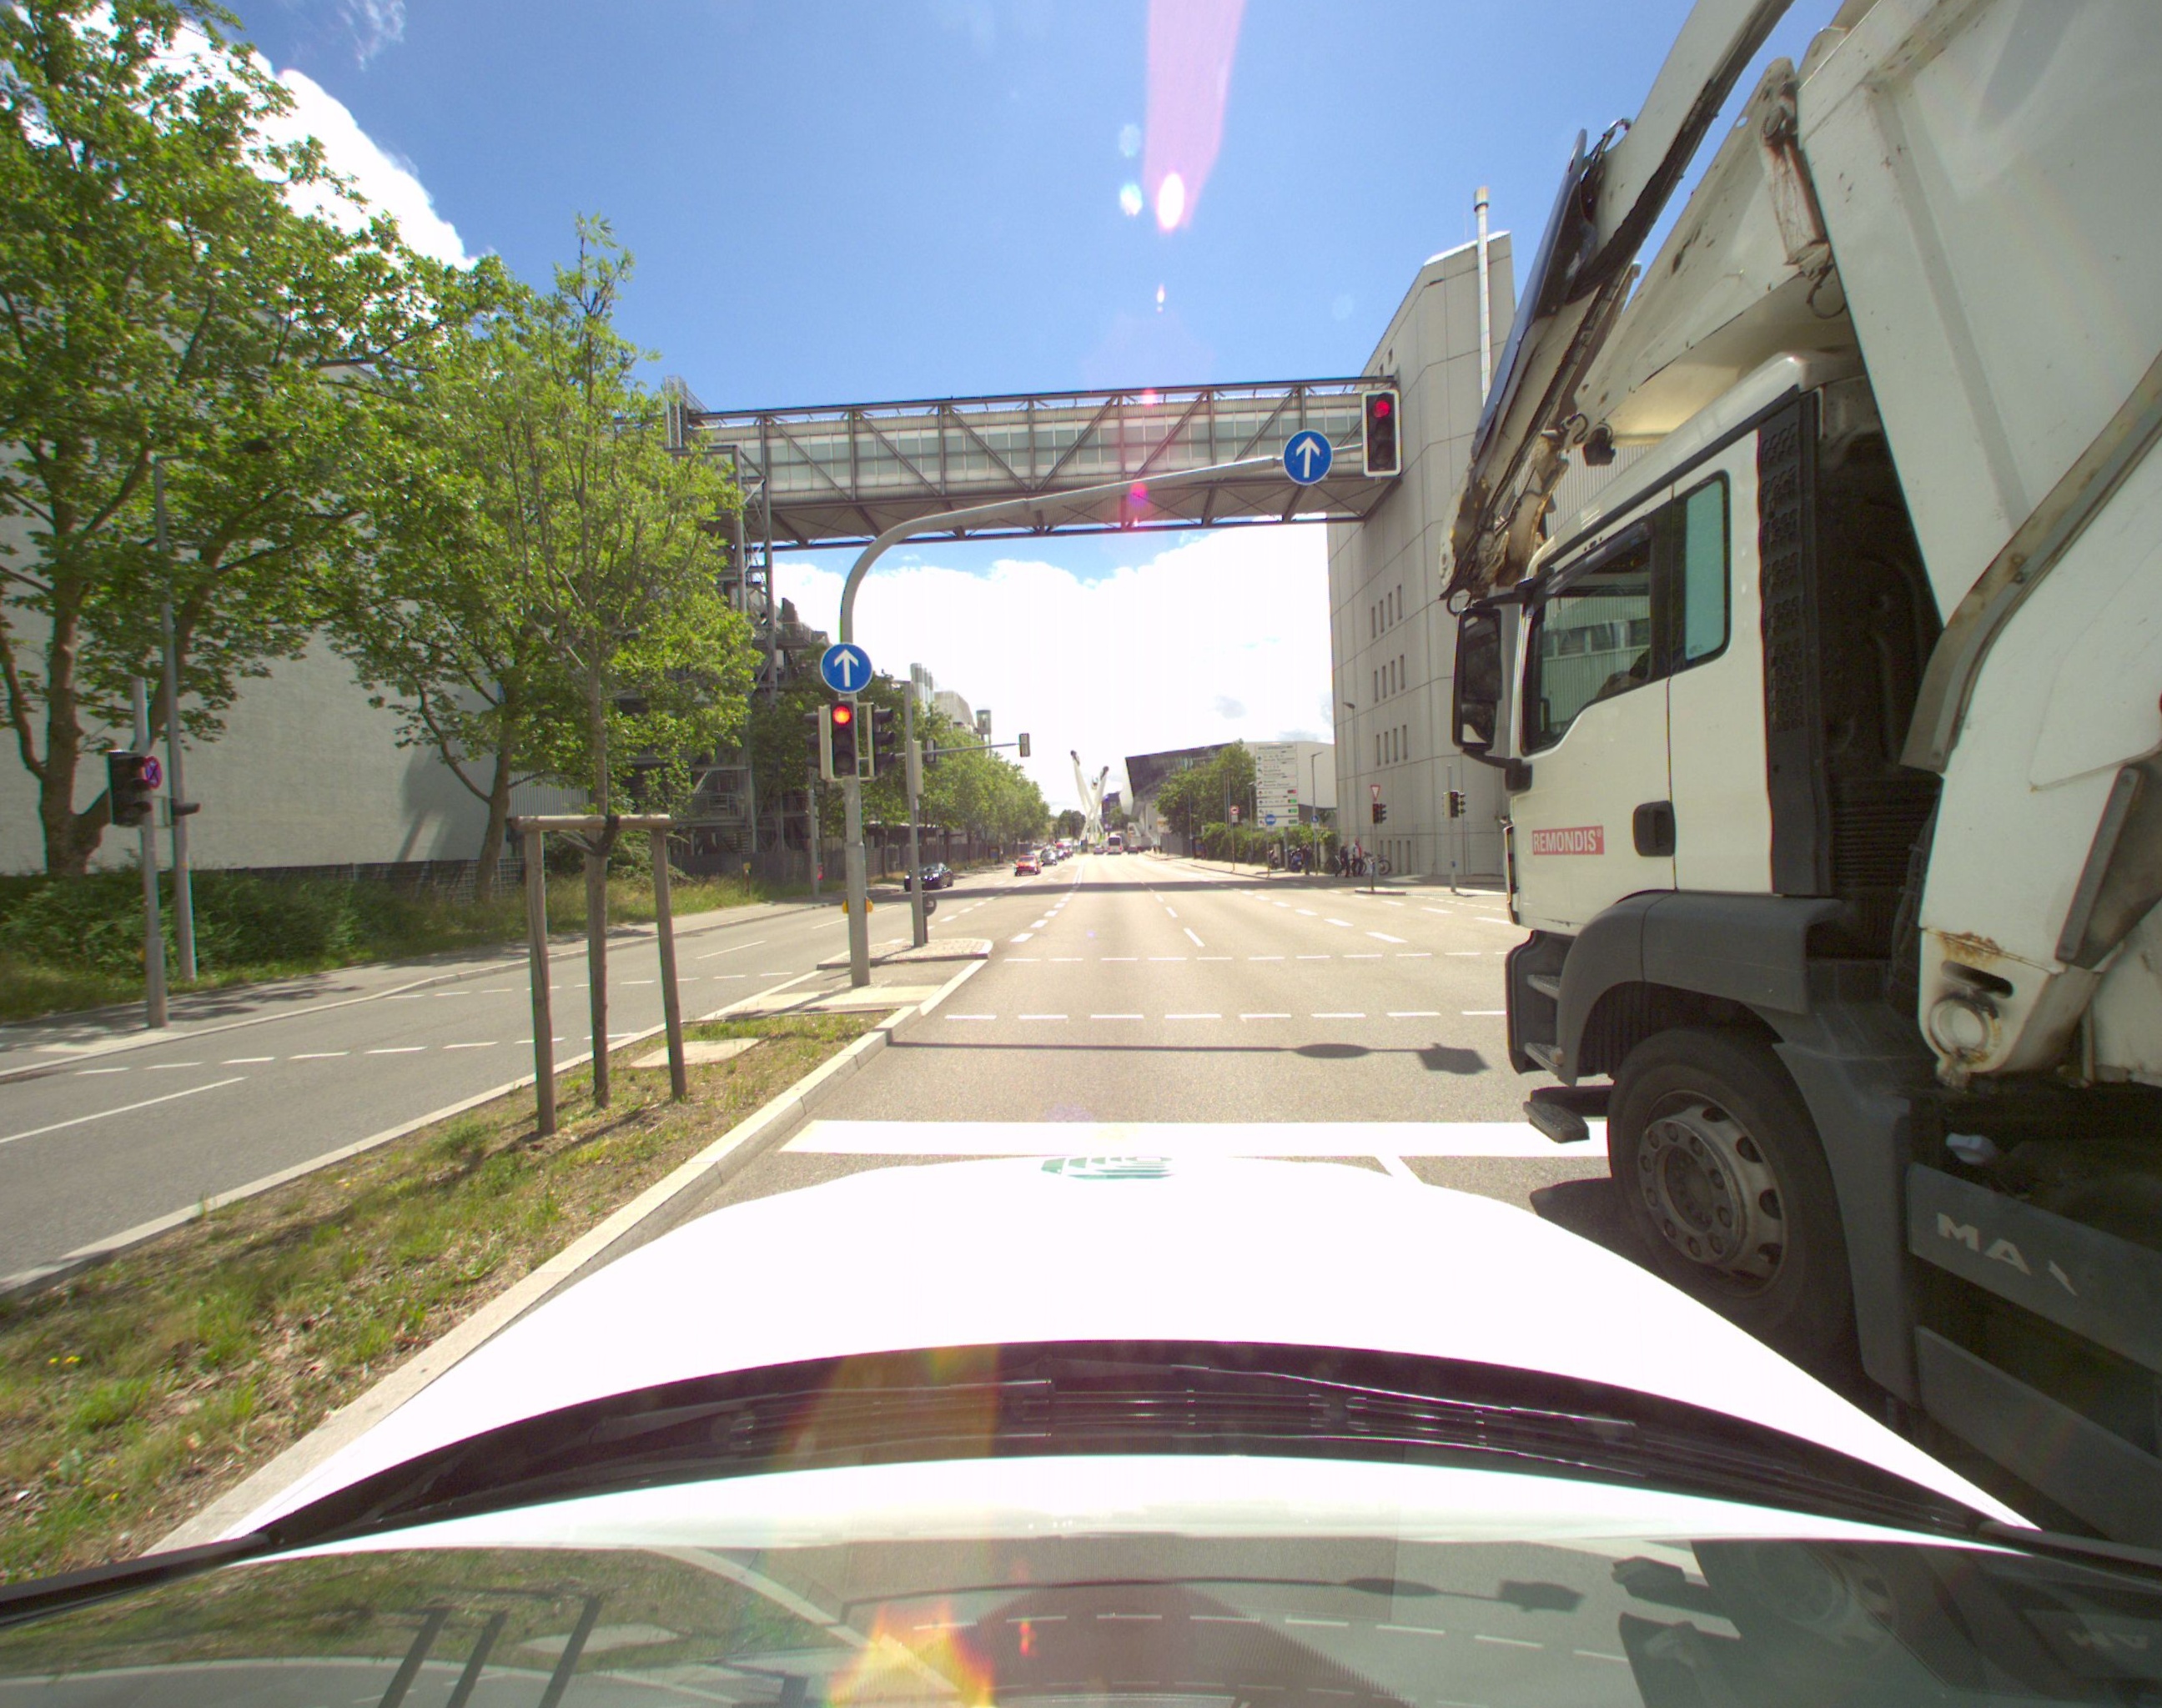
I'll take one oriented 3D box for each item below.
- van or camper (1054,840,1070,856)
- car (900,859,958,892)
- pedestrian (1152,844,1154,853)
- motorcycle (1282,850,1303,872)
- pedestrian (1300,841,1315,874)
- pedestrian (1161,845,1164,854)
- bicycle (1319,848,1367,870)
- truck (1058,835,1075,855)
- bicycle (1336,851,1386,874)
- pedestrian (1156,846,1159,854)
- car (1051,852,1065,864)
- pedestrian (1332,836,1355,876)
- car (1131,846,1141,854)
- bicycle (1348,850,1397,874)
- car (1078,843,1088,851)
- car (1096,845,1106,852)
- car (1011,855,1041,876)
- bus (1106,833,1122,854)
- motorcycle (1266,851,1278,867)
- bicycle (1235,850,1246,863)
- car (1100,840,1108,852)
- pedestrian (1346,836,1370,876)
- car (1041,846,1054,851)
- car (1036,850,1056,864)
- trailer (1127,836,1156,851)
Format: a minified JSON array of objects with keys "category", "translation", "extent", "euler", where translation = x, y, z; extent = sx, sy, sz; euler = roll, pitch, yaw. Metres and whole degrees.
[{"category":"van or camper","translation":[-2.841,-0.901,126.078],"extent":[2.038,2.466,5.598],"euler":[-1,0,3]},{"category":"car","translation":[-8.086,1.112,43.814],"extent":[1.910,1.488,4.775],"euler":[-4,0,3]},{"category":"pedestrian","translation":[12.184,-0.902,137.540],"extent":[0.384,1.421,0.424],"euler":[0,-1,2]},{"category":"motorcycle","translation":[11.652,0.394,44.905],"extent":[0.418,1.166,1.951],"euler":[0,-1,-9]},{"category":"pedestrian","translation":[11.457,0.163,41.222],"extent":[0.532,1.640,0.657],"euler":[0,-1,-4]},{"category":"pedestrian","translation":[13.536,-0.753,135.534],"extent":[0.384,1.421,0.424],"euler":[0,-1,2]},{"category":"bicycle","translation":[13.086,0.275,40.715],"extent":[2.196,1.086,0.480],"euler":[-1,-1,37]},{"category":"truck","translation":[-2.459,-1.581,141.165],"extent":[2.581,3.324,7.083],"euler":[0,-1,3]},{"category":"bicycle","translation":[13.520,0.398,39.371],"extent":[2.196,1.086,0.480],"euler":[-1,-1,37]},{"category":"pedestrian","translation":[12.794,-0.650,136.108],"extent":[0.384,1.421,0.424],"euler":[0,-1,2]},{"category":"car","translation":[-3.061,0.555,110.644],"extent":[1.551,1.448,3.775],"euler":[-4,0,3]},{"category":"pedestrian","translation":[12.076,0.110,37.495],"extent":[0.642,1.793,0.709],"euler":[-4,0,-14]},{"category":"car","translation":[9.868,-0.732,146.184],"extent":[1.551,1.273,3.704],"euler":[-4,0,3]},{"category":"bicycle","translation":[13.769,0.390,38.511],"extent":[2.166,1.086,0.480],"euler":[-1,-1,37]},{"category":"car","translation":[0.408,-1.314,155.867],"extent":[1.551,1.273,3.704],"euler":[-4,0,3]},{"category":"car","translation":[3.684,-1.031,148.833],"extent":[1.551,1.273,3.704],"euler":[-4,0,3]},{"category":"car","translation":[-4.052,0.825,60.488],"extent":[1.762,1.420,3.704],"euler":[-4,0,3]},{"category":"bus","translation":[6.152,-1.923,150.083],"extent":[2.776,3.686,6.947],"euler":[0,-1,3]},{"category":"motorcycle","translation":[12.175,0.334,51.882],"extent":[0.455,1.022,1.914],"euler":[0,-1,4]},{"category":"bicycle","translation":[12.725,0.171,65.140],"extent":[0.417,1.022,1.911],"euler":[0,-1,-2]},{"category":"car","translation":[4.830,-1.681,171.323],"extent":[1.837,2.624,4.001],"euler":[0,-1,1]},{"category":"pedestrian","translation":[12.786,0.077,37.630],"extent":[0.692,1.793,0.709],"euler":[-4,0,-14]},{"category":"car","translation":[-9.530,-1.483,231.832],"extent":[3.723,1.273,1.543],"euler":[-4,0,-45]},{"category":"car","translation":[-3.731,0.329,88.509],"extent":[1.762,1.420,3.704],"euler":[-4,0,3]},{"category":"trailer","translation":[12.881,-2.182,172.067],"extent":[3.291,2.995,10.429],"euler":[-1,-1,21]}]
